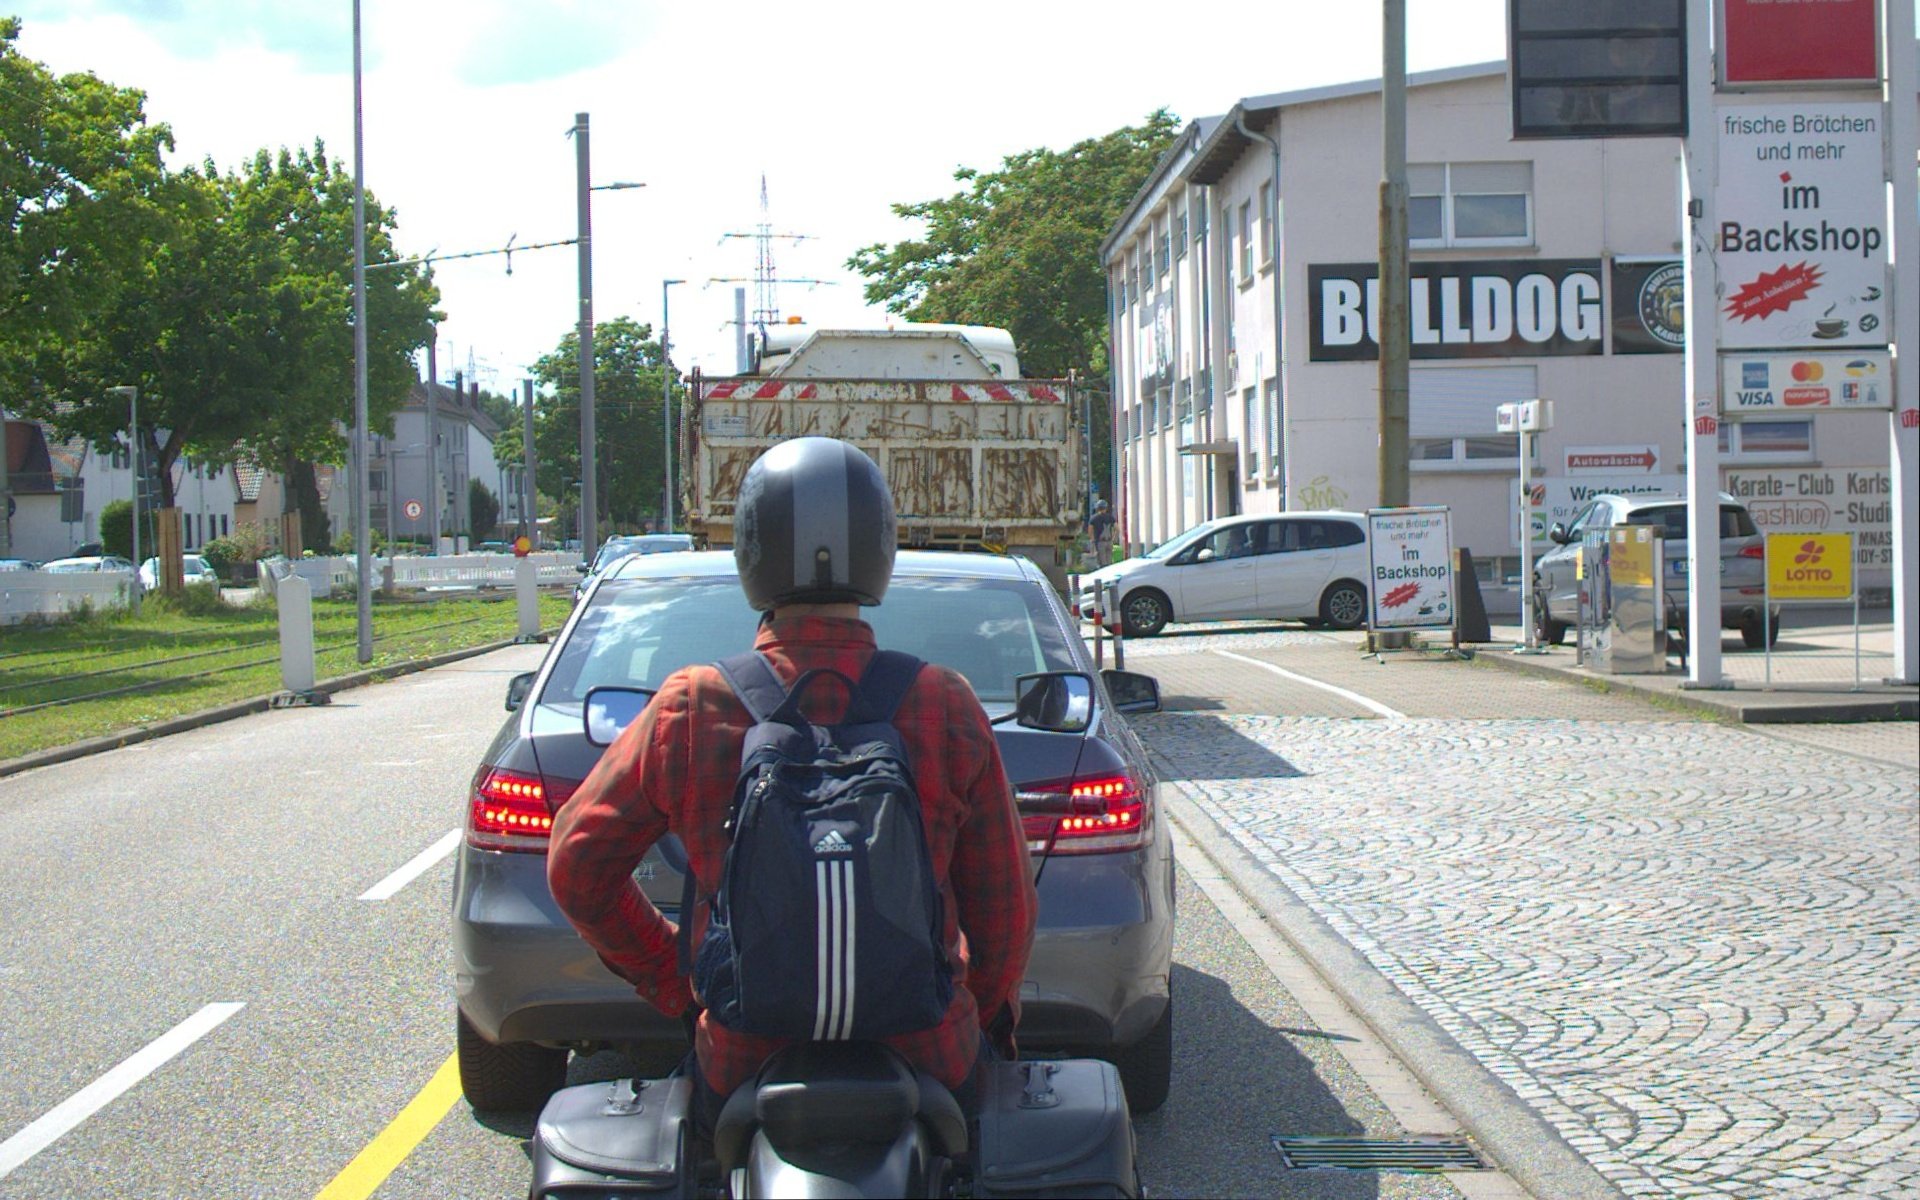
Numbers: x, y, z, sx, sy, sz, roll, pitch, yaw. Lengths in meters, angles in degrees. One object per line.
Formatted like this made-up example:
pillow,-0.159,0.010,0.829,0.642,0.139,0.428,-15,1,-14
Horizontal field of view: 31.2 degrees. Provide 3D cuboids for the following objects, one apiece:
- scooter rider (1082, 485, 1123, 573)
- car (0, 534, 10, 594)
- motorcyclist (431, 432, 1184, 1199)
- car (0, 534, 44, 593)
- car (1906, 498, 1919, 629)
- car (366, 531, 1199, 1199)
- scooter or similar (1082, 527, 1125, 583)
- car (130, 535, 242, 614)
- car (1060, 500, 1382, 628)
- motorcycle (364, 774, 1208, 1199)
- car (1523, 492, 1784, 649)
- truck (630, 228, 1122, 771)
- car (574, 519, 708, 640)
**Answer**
scooter rider,2.975,-1.481,71.778,0.795,1.812,0.508,-1,1,-1
car,-28.675,-1.008,98.580,1.698,1.733,4.062,-1,1,0
motorcyclist,-0.209,0.587,5.087,0.969,1.627,1.215,1,1,-1
car,-29.270,-1.119,104.591,1.698,1.733,4.062,-1,1,0
car,11.785,-0.402,37.246,1.832,1.474,4.010,-1,1,-2
car,-0.451,0.567,9.720,1.832,1.474,4.010,-1,1,-2
scooter or similar,2.988,-0.954,71.774,0.795,1.141,1.519,-1,1,-1
car,-17.884,-0.622,79.559,1.698,1.733,3.860,-1,1,0
car,3.546,-0.503,47.034,4.104,1.619,1.686,-1,1,-8
motorcycle,-0.219,0.862,5.210,0.976,1.010,2.432,1,1,-1
car,7.321,-0.343,36.648,1.832,1.530,4.010,-1,1,-2
truck,-0.638,-0.717,25.471,2.970,3.293,8.408,-1,1,-2
car,-4.514,-0.323,49.036,1.680,1.619,4.119,-1,1,-3
